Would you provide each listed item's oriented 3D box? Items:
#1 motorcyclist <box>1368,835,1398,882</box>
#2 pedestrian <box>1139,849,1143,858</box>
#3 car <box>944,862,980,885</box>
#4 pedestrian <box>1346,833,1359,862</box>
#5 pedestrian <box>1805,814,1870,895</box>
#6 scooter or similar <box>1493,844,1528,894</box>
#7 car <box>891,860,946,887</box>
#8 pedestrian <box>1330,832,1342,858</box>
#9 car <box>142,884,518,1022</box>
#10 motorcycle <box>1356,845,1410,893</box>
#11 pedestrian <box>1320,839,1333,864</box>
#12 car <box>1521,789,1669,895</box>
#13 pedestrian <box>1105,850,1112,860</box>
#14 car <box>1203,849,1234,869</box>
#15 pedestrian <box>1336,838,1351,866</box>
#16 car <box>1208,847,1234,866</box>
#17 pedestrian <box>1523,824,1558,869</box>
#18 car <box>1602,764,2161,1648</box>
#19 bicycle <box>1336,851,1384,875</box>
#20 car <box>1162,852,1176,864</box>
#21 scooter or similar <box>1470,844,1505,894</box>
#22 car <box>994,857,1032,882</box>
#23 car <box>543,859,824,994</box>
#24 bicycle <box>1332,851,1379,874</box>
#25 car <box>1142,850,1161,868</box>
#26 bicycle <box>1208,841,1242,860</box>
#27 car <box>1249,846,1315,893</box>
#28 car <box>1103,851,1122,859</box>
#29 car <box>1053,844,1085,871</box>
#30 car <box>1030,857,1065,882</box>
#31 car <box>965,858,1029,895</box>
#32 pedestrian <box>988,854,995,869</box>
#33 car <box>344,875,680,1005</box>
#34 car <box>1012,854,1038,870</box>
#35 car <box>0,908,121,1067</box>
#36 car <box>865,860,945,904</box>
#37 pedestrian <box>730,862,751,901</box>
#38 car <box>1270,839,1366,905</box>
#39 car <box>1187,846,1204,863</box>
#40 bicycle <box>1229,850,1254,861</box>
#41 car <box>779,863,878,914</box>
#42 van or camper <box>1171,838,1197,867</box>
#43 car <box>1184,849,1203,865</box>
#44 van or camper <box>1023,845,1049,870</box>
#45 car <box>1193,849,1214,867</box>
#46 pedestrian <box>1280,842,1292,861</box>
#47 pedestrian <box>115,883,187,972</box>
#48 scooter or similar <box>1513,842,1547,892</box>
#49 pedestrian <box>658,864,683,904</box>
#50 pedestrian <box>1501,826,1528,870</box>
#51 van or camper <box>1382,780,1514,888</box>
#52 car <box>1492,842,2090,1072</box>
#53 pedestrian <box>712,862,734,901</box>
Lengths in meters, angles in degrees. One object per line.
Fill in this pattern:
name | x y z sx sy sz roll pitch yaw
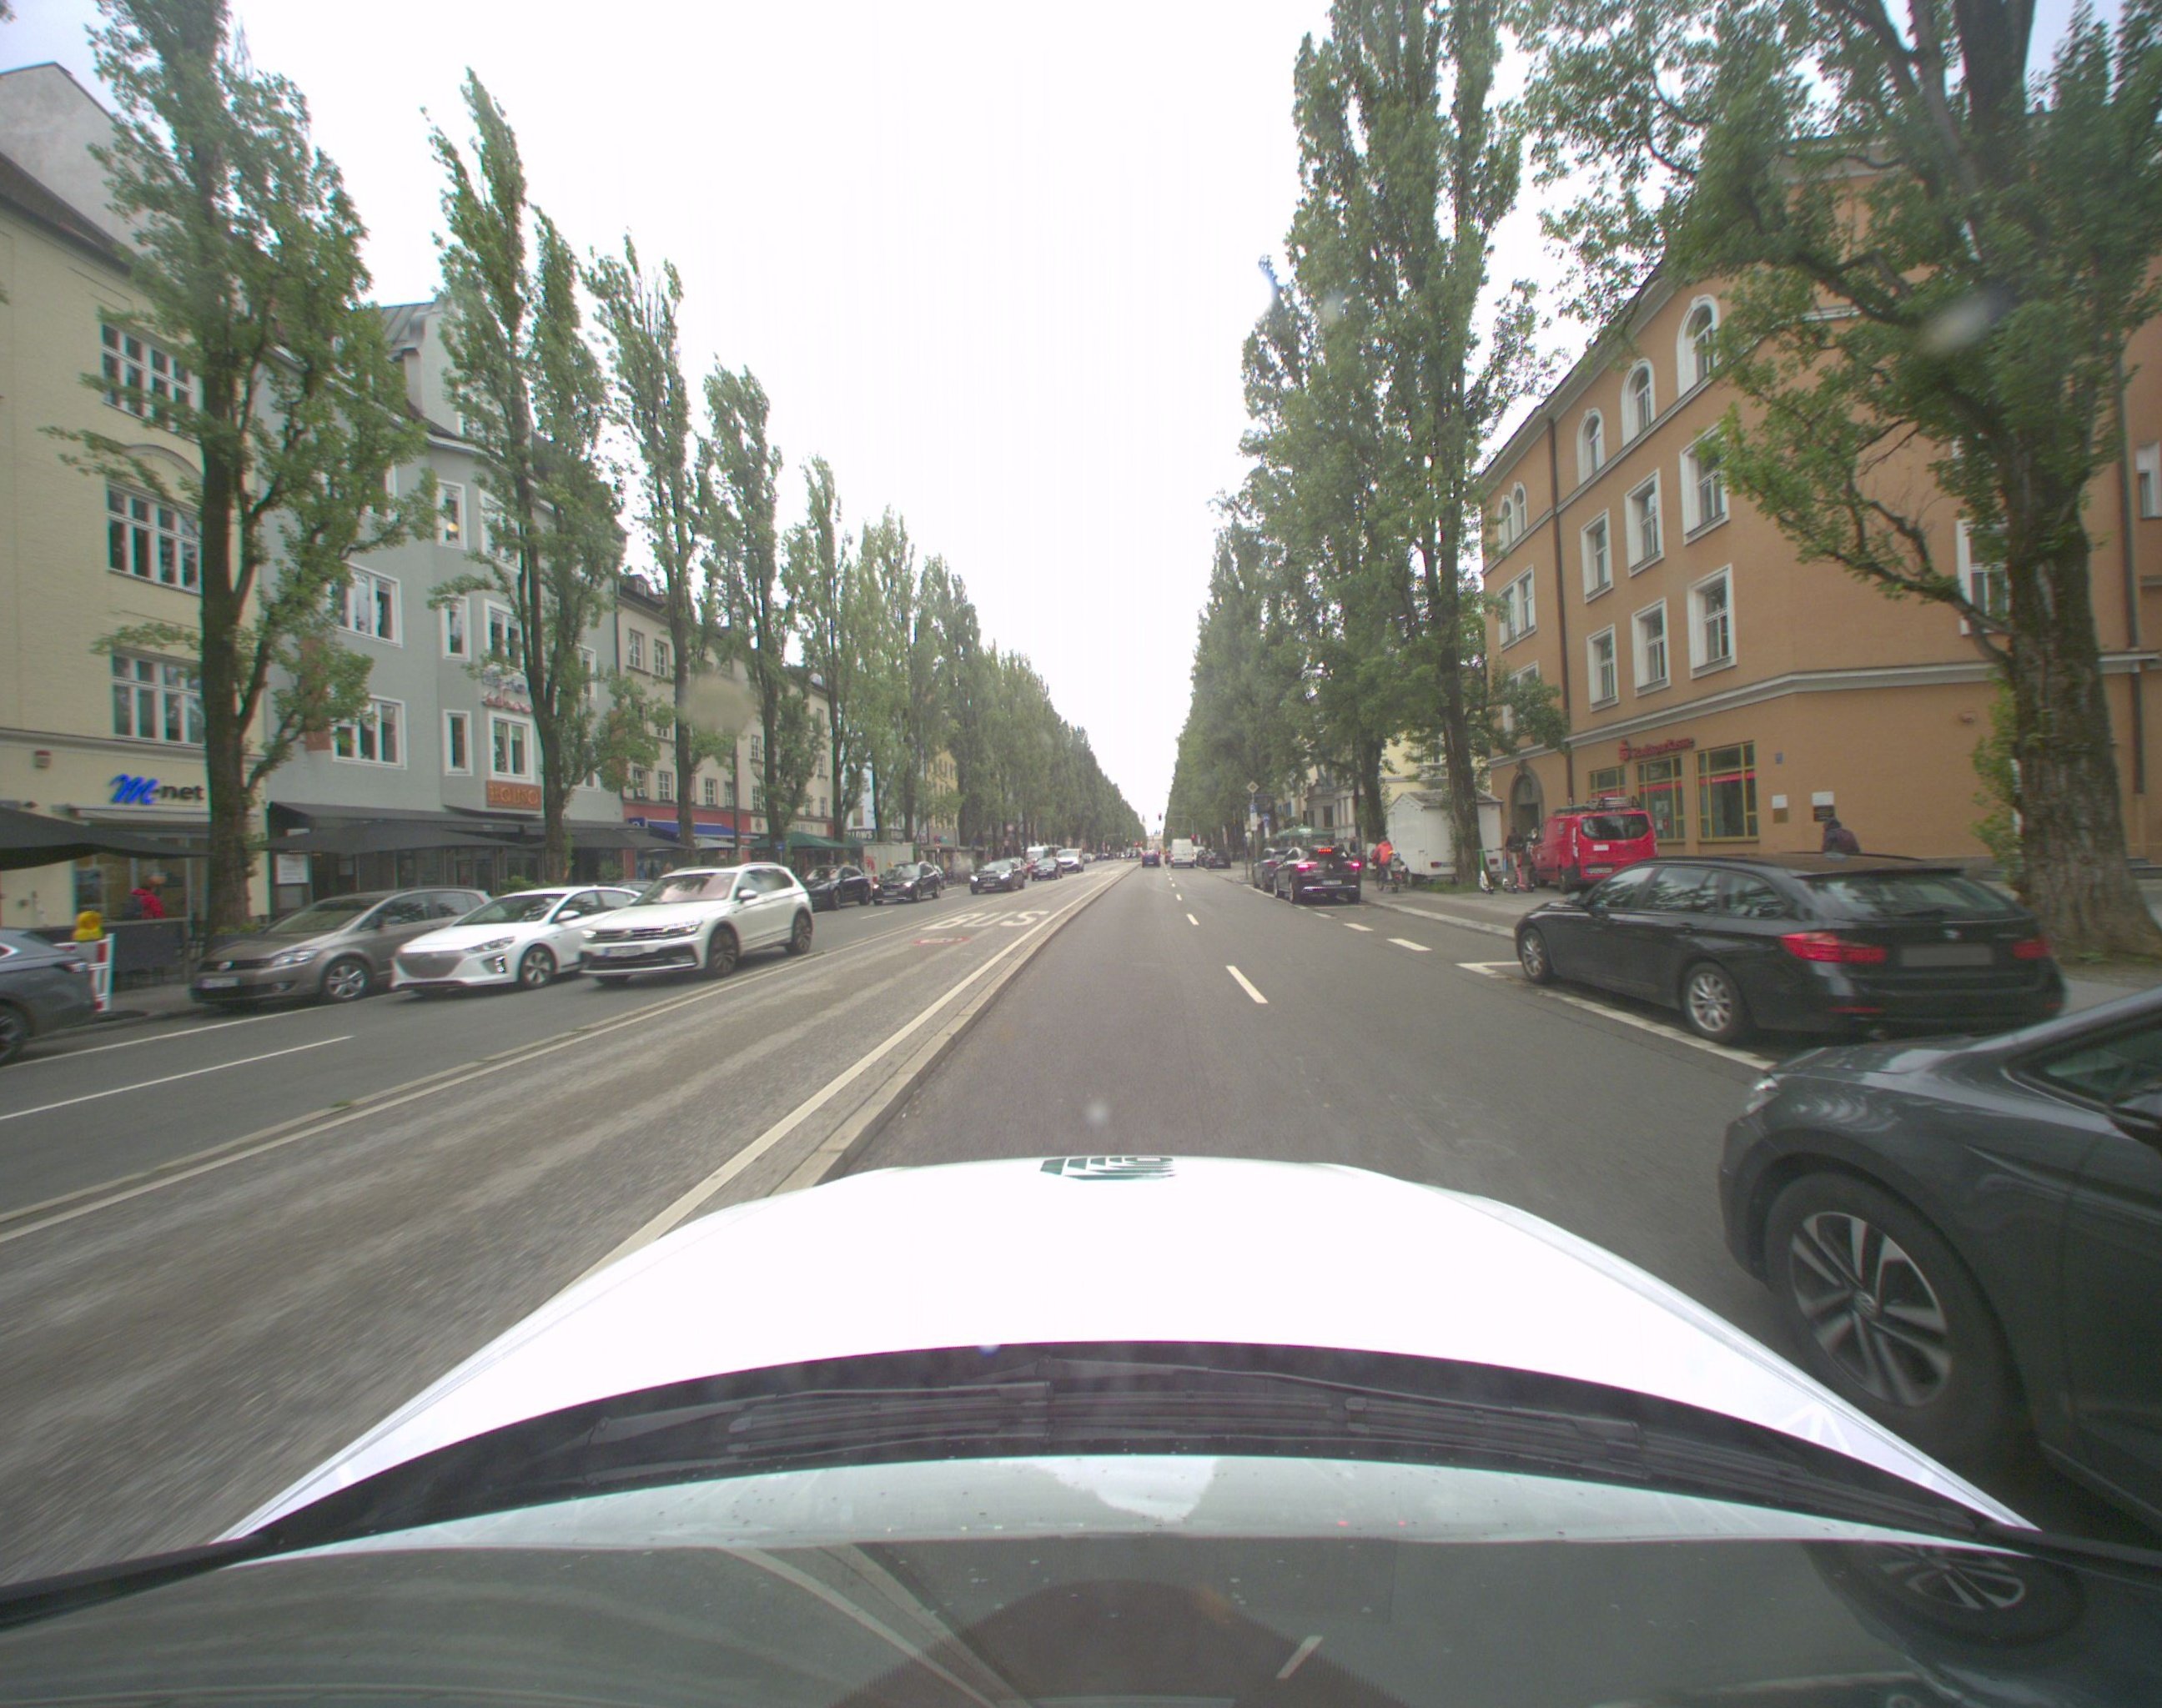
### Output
motorcyclist | 9.304 0.135 25.094 0.562 1.406 0.766 -3 0 1
pedestrian | 11.476 -0.071 155.490 0.550 1.716 0.494 -3 0 5
car | -7.376 1.174 50.663 1.505 1.345 3.241 -1 -1 4
pedestrian | 17.645 -0.400 52.903 0.696 1.873 0.769 -1 -1 14
pedestrian | 15.178 0.006 16.346 0.607 1.551 0.709 -4 0 -23
scooter or similar | 11.207 0.369 21.291 0.482 1.232 1.413 -5 -1 17
car | -8.446 0.969 42.610 1.802 1.250 3.705 -2 0 4
pedestrian | 16.610 -0.573 53.075 0.643 1.647 0.769 -1 -1 14
car | -11.132 1.363 12.548 1.796 1.519 4.006 -3 0 5
motorcycle | 9.251 0.441 25.055 0.823 1.370 2.253 -3 0 1
pedestrian | 19.300 -0.196 63.948 0.757 1.853 0.740 -3 0 2
car | 13.020 -0.289 21.002 1.886 2.328 4.846 -3 0 17
pedestrian | 5.733 0.165 169.324 1.144 1.916 1.143 -3 0 -27
car | 10.701 0.365 63.556 1.935 1.467 4.004 -3 0 4
pedestrian | 15.890 -0.109 49.275 0.662 1.650 0.630 -2 0 32
car | 11.820 0.183 69.083 1.776 1.525 3.946 -2 0 5
pedestrian | 17.046 -0.260 30.213 0.816 1.613 0.781 -3 0 7
car | 2.822 0.620 0.965 1.755 1.613 4.184 -2 0 1
bicycle | 12.905 0.394 37.706 2.039 1.023 0.693 -2 0 12
car | 10.113 0.439 93.636 1.497 1.313 3.287 -2 0 5
scooter or similar | 10.761 0.383 21.586 0.521 1.232 1.483 -5 -1 17
car | -4.586 1.038 55.454 1.817 1.532 4.005 -3 -1 4
car | -5.939 0.972 12.941 1.931 1.642 4.469 -3 0 4
bicycle | 13.307 0.410 39.486 2.051 1.023 0.690 -2 0 -6
car | 6.712 0.510 77.470 1.751 1.619 3.752 -1 -1 5
bicycle | 15.960 -0.362 90.301 3.524 2.014 1.301 -1 -1 13
car | 7.360 0.524 30.191 1.616 1.565 4.376 -3 0 4
car | 6.927 0.208 180.066 3.975 1.745 1.999 -3 0 -1
car | -0.935 0.300 66.612 1.984 1.934 4.924 -4 -1 5
car | -2.068 0.943 51.537 1.704 1.414 3.727 -3 0 4
car | -3.733 0.976 37.102 1.984 1.432 4.778 -4 0 5
pedestrian | -10.677 0.900 97.242 0.579 1.856 0.676 -2 0 4
car | -8.641 1.207 13.003 1.931 1.493 4.462 -3 0 4
car | -5.238 0.786 76.622 1.787 1.429 4.005 -1 -1 5
car | -11.731 1.401 6.859 1.930 1.493 4.303 -3 0 6
car | -6.903 1.073 32.364 1.840 1.564 4.217 -3 -1 5
pedestrian | -16.726 1.319 39.985 0.635 1.862 0.649 -3 0 4
car | 6.761 0.469 23.700 1.871 1.642 4.591 -3 0 7
car | 13.441 0.062 95.810 1.796 1.992 4.005 -1 -1 5
bicycle | 15.496 0.170 78.758 0.764 1.023 2.708 -2 0 -30
car | -9.269 1.210 30.277 1.839 1.564 4.341 -3 0 6
van or camper | 9.069 -0.095 72.179 2.025 2.475 4.005 -2 -1 5
car | 12.378 0.349 89.824 1.754 1.596 4.005 -1 -1 5
van or camper | -4.566 0.364 83.390 1.984 2.458 4.257 -2 0 5
car | 11.753 0.393 78.339 1.796 1.596 4.005 -1 -1 5
pedestrian | 18.675 -0.238 74.273 0.806 1.755 0.938 -3 0 23
pedestrian | -18.979 1.481 16.633 0.536 1.747 0.756 -2 0 5
scooter or similar | 11.723 0.328 21.282 0.482 1.232 1.173 -5 -1 17
pedestrian | -17.803 1.289 35.313 0.635 1.700 0.649 -3 0 4
pedestrian | 16.457 -0.239 30.929 0.669 1.613 0.641 -3 0 7
van or camper | 11.892 -0.622 26.836 2.448 3.112 4.723 -3 0 6
car | 5.676 0.663 7.458 1.726 1.394 4.436 -3 0 3
pedestrian | -17.524 1.335 39.878 0.635 1.862 0.649 -3 0 4
